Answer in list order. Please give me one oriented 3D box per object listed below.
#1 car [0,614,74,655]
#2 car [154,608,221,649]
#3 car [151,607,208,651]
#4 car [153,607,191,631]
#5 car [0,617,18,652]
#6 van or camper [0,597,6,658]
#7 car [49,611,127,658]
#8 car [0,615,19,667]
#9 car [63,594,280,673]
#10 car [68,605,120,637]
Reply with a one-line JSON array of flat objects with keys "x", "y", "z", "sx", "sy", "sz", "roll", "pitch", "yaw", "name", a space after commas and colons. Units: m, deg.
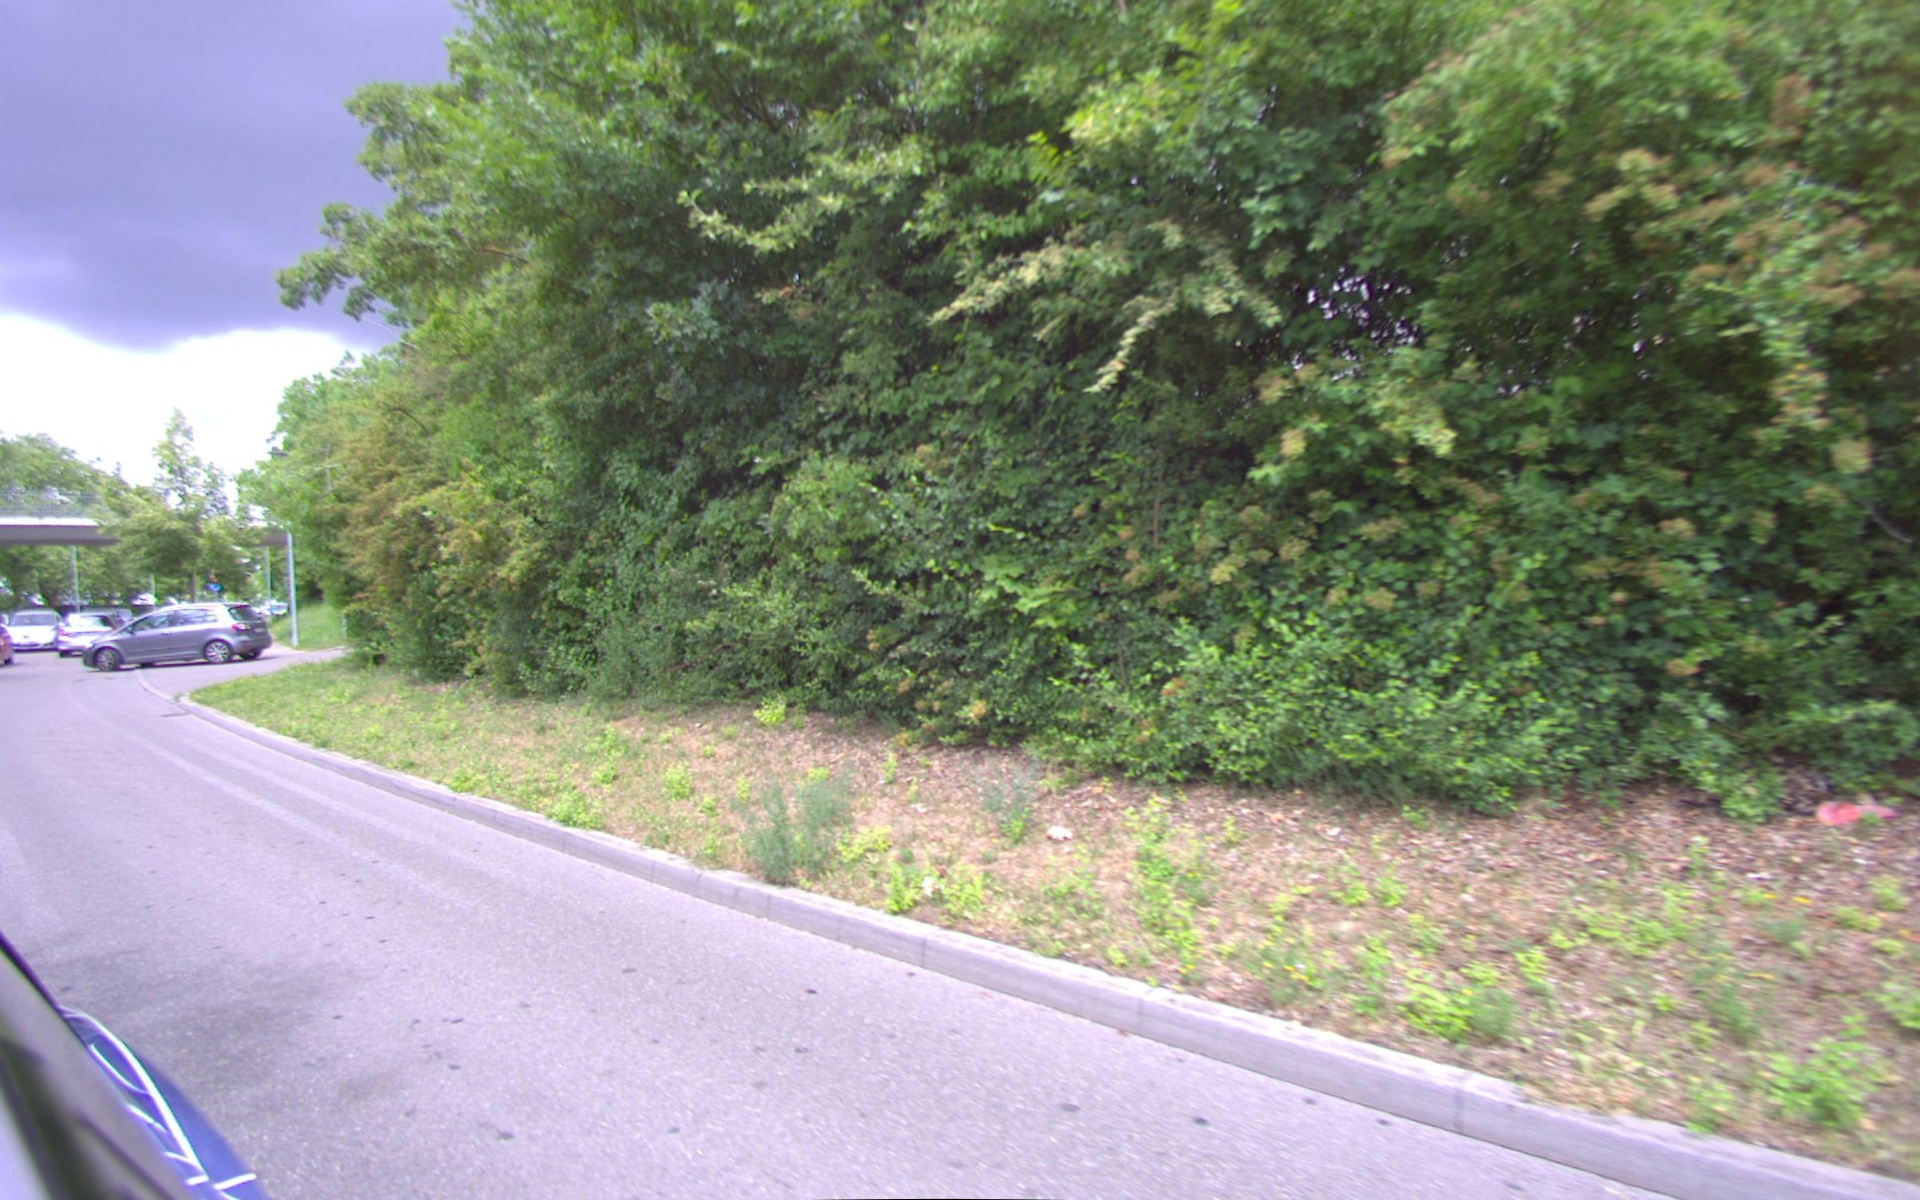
[{"x": -36.443, "y": 1.314, "z": 39.863, "sx": 1.752, "sy": 1.463, "sz": 4.011, "roll": -1, "pitch": 1, "yaw": -33, "name": "car"}, {"x": -29.714, "y": 1.050, "z": 39.034, "sx": 1.784, "sy": 1.415, "sz": 4.059, "roll": -1, "pitch": 1, "yaw": -34, "name": "car"}, {"x": -32.544, "y": 1.169, "z": 42.240, "sx": 1.573, "sy": 1.596, "sz": 2.692, "roll": -6, "pitch": 3, "yaw": -34, "name": "car"}, {"x": -50.774, "y": 1.200, "z": 65.296, "sx": 1.728, "sy": 1.430, "sz": 4.378, "roll": -1, "pitch": 0, "yaw": -35, "name": "car"}, {"x": -42.366, "y": 1.512, "z": 43.948, "sx": 1.561, "sy": 1.461, "sz": 3.731, "roll": -1, "pitch": 1, "yaw": -35, "name": "car"}, {"x": -39.276, "y": 1.144, "z": 39.587, "sx": 1.967, "sy": 2.514, "sz": 5.773, "roll": -1, "pitch": 1, "yaw": -35, "name": "van or camper"}, {"x": -30.325, "y": 1.143, "z": 35.286, "sx": 1.817, "sy": 1.467, "sz": 3.660, "roll": -1, "pitch": 1, "yaw": -37, "name": "car"}, {"x": -28.369, "y": 1.196, "z": 28.755, "sx": 1.832, "sy": 1.453, "sz": 4.010, "roll": -2, "pitch": 0, "yaw": -35, "name": "car"}, {"x": -20.587, "y": 0.833, "z": 26.603, "sx": 4.052, "sy": 1.674, "sz": 1.763, "roll": -4, "pitch": 3, "yaw": -12, "name": "car"}, {"x": -46.233, "y": 1.155, "z": 54.085, "sx": 1.753, "sy": 1.431, "sz": 4.008, "roll": 7, "pitch": -7, "yaw": -37, "name": "car"}]
